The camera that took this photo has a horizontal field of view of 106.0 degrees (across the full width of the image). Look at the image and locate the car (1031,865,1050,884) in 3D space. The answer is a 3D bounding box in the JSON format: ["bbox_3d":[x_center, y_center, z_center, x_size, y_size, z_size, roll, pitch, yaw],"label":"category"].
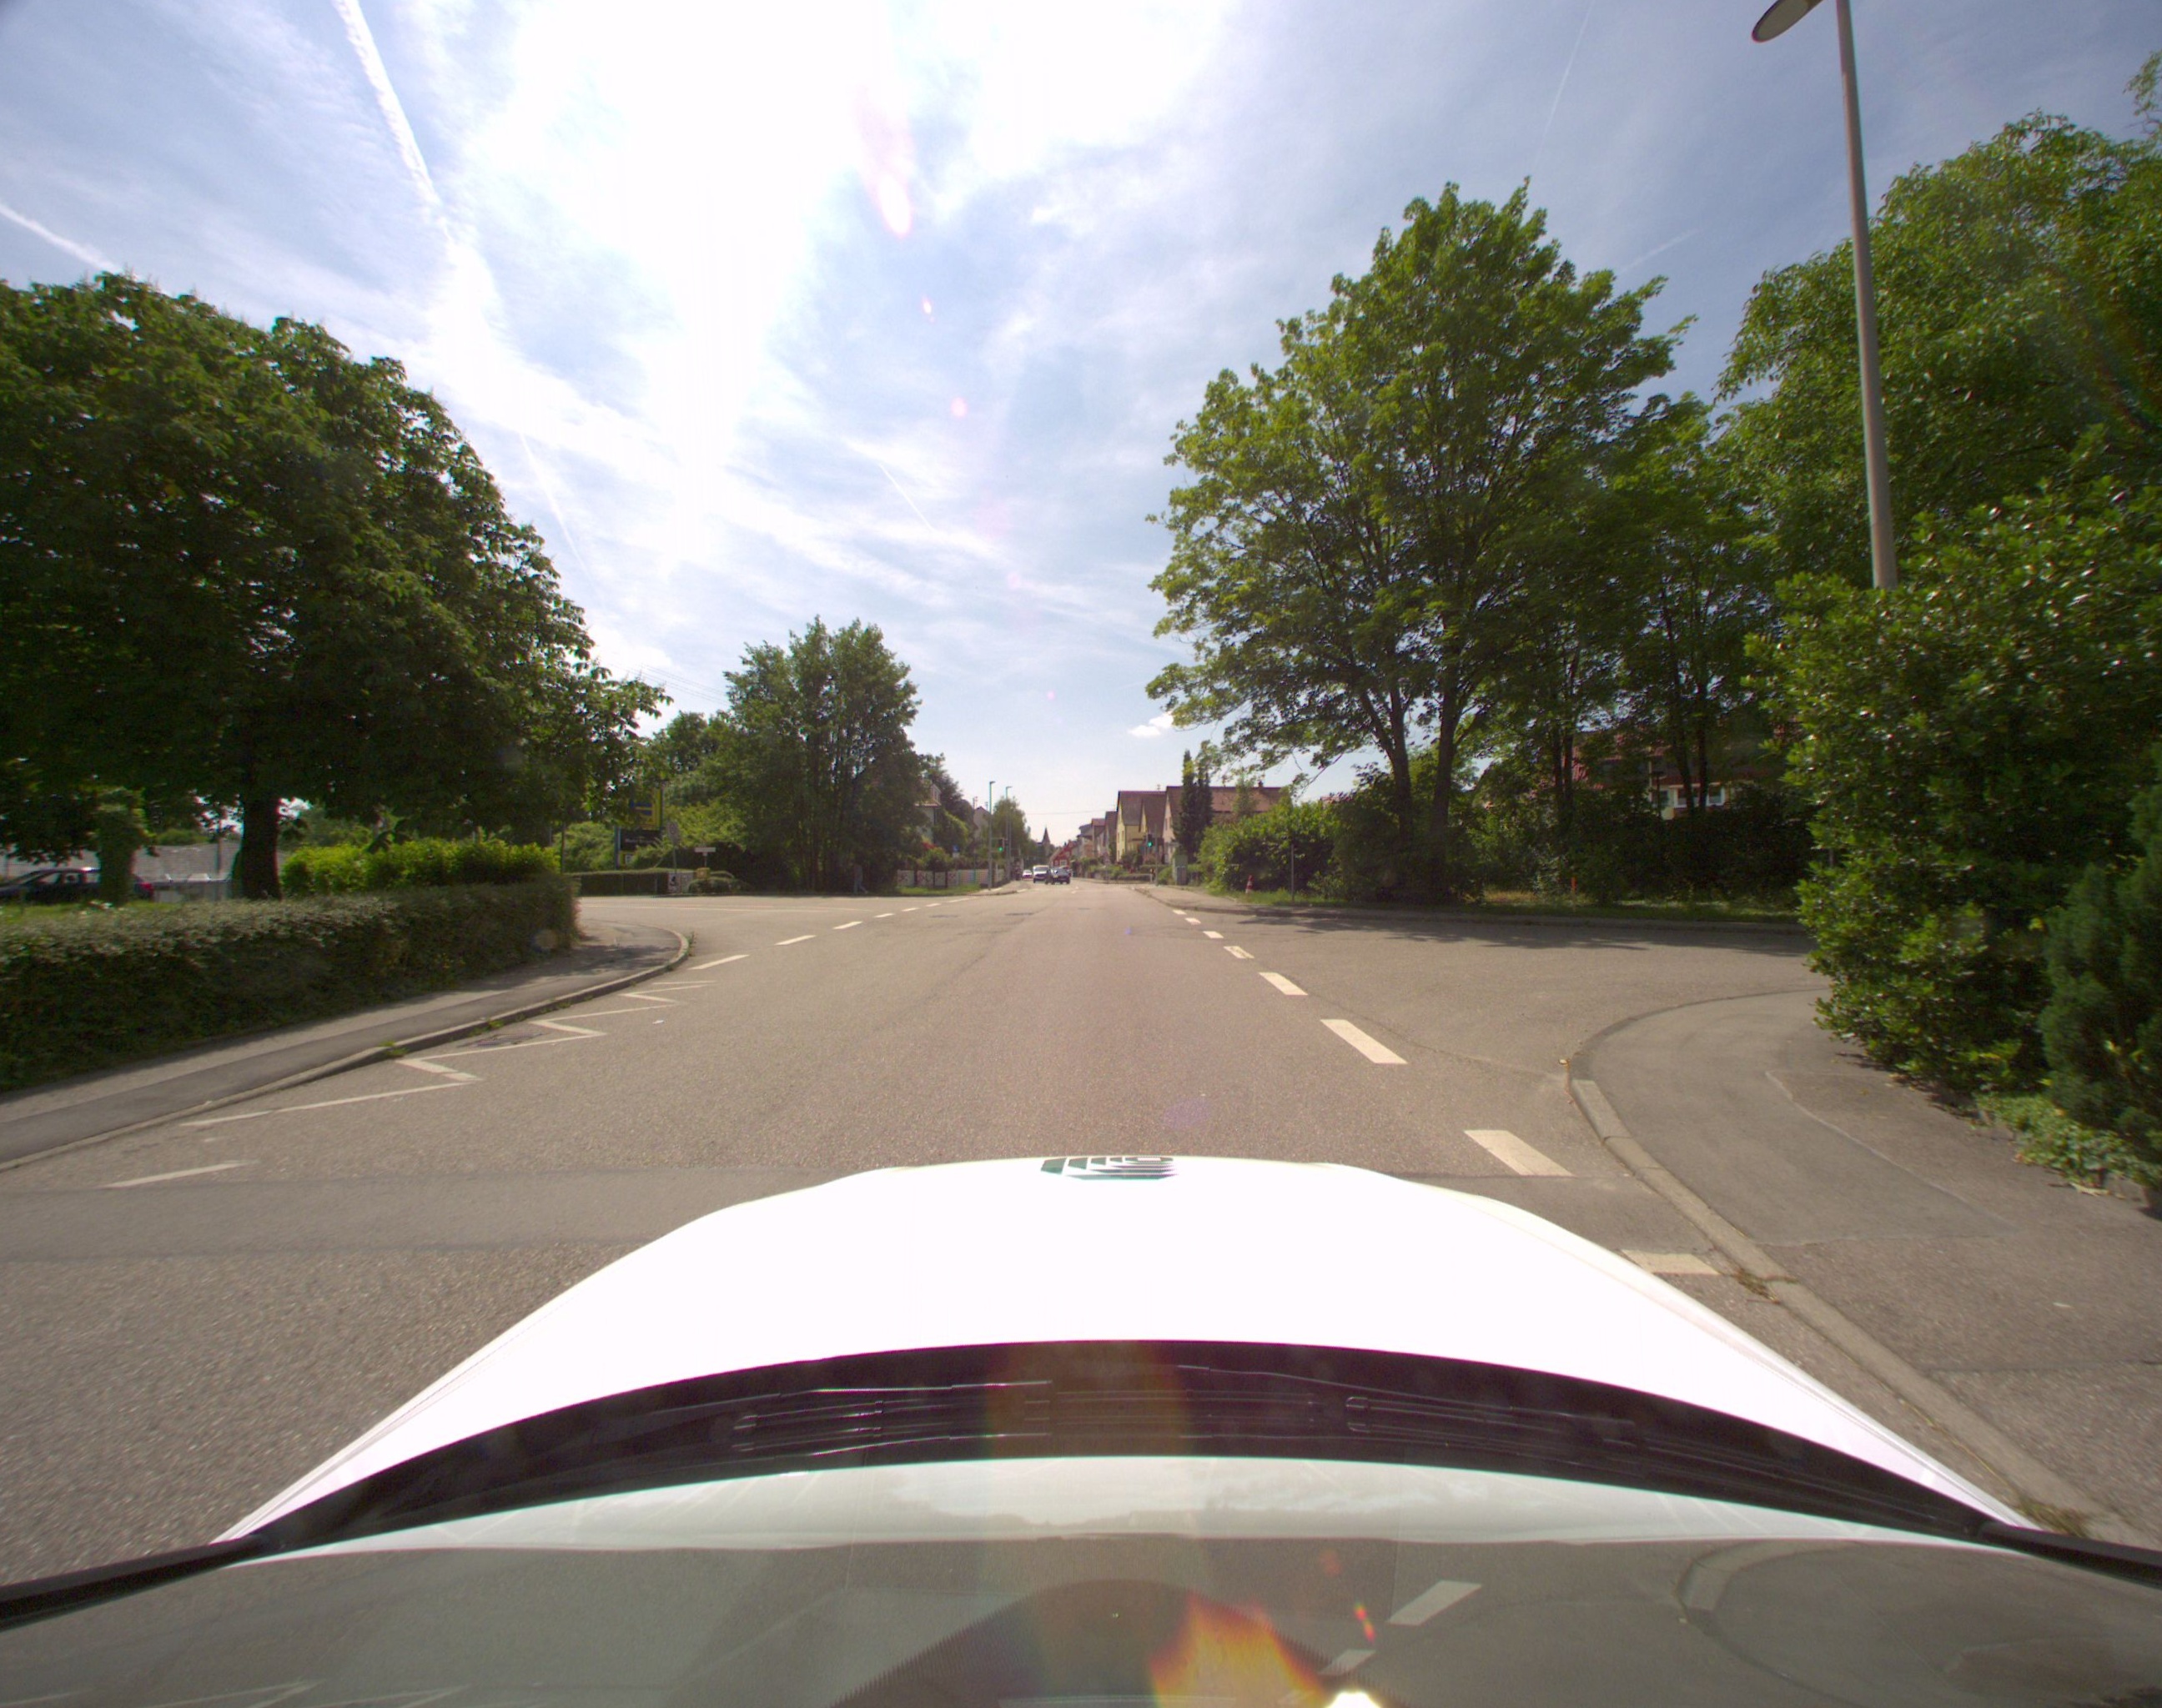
[{"bbox_3d":[-4.681,2.345,93.038,1.876,1.965,4.893,-2,-2,-5],"label":"car"}]

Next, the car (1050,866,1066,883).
[{"bbox_3d":[-2.259,1.973,80.244,1.530,1.541,4.301,-1,0,-2],"label":"car"}]

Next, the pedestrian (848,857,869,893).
[{"bbox_3d":[-11.354,1.056,41.508,0.729,1.777,0.693,-3,-3,19],"label":"pedestrian"}]

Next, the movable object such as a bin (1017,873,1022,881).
[{"bbox_3d":[-8.030,3.034,106.115,0.606,1.046,0.724,0,0,-5],"label":"movable object such as a bin"}]

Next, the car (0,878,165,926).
[{"bbox_3d":[-31.160,1.437,25.094,1.381,1.362,3.624,-1,-2,19],"label":"car"}]

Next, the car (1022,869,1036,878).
[{"bbox_3d":[-9.421,3.481,147.775,2.104,1.561,4.312,-1,-1,0],"label":"car"}]
